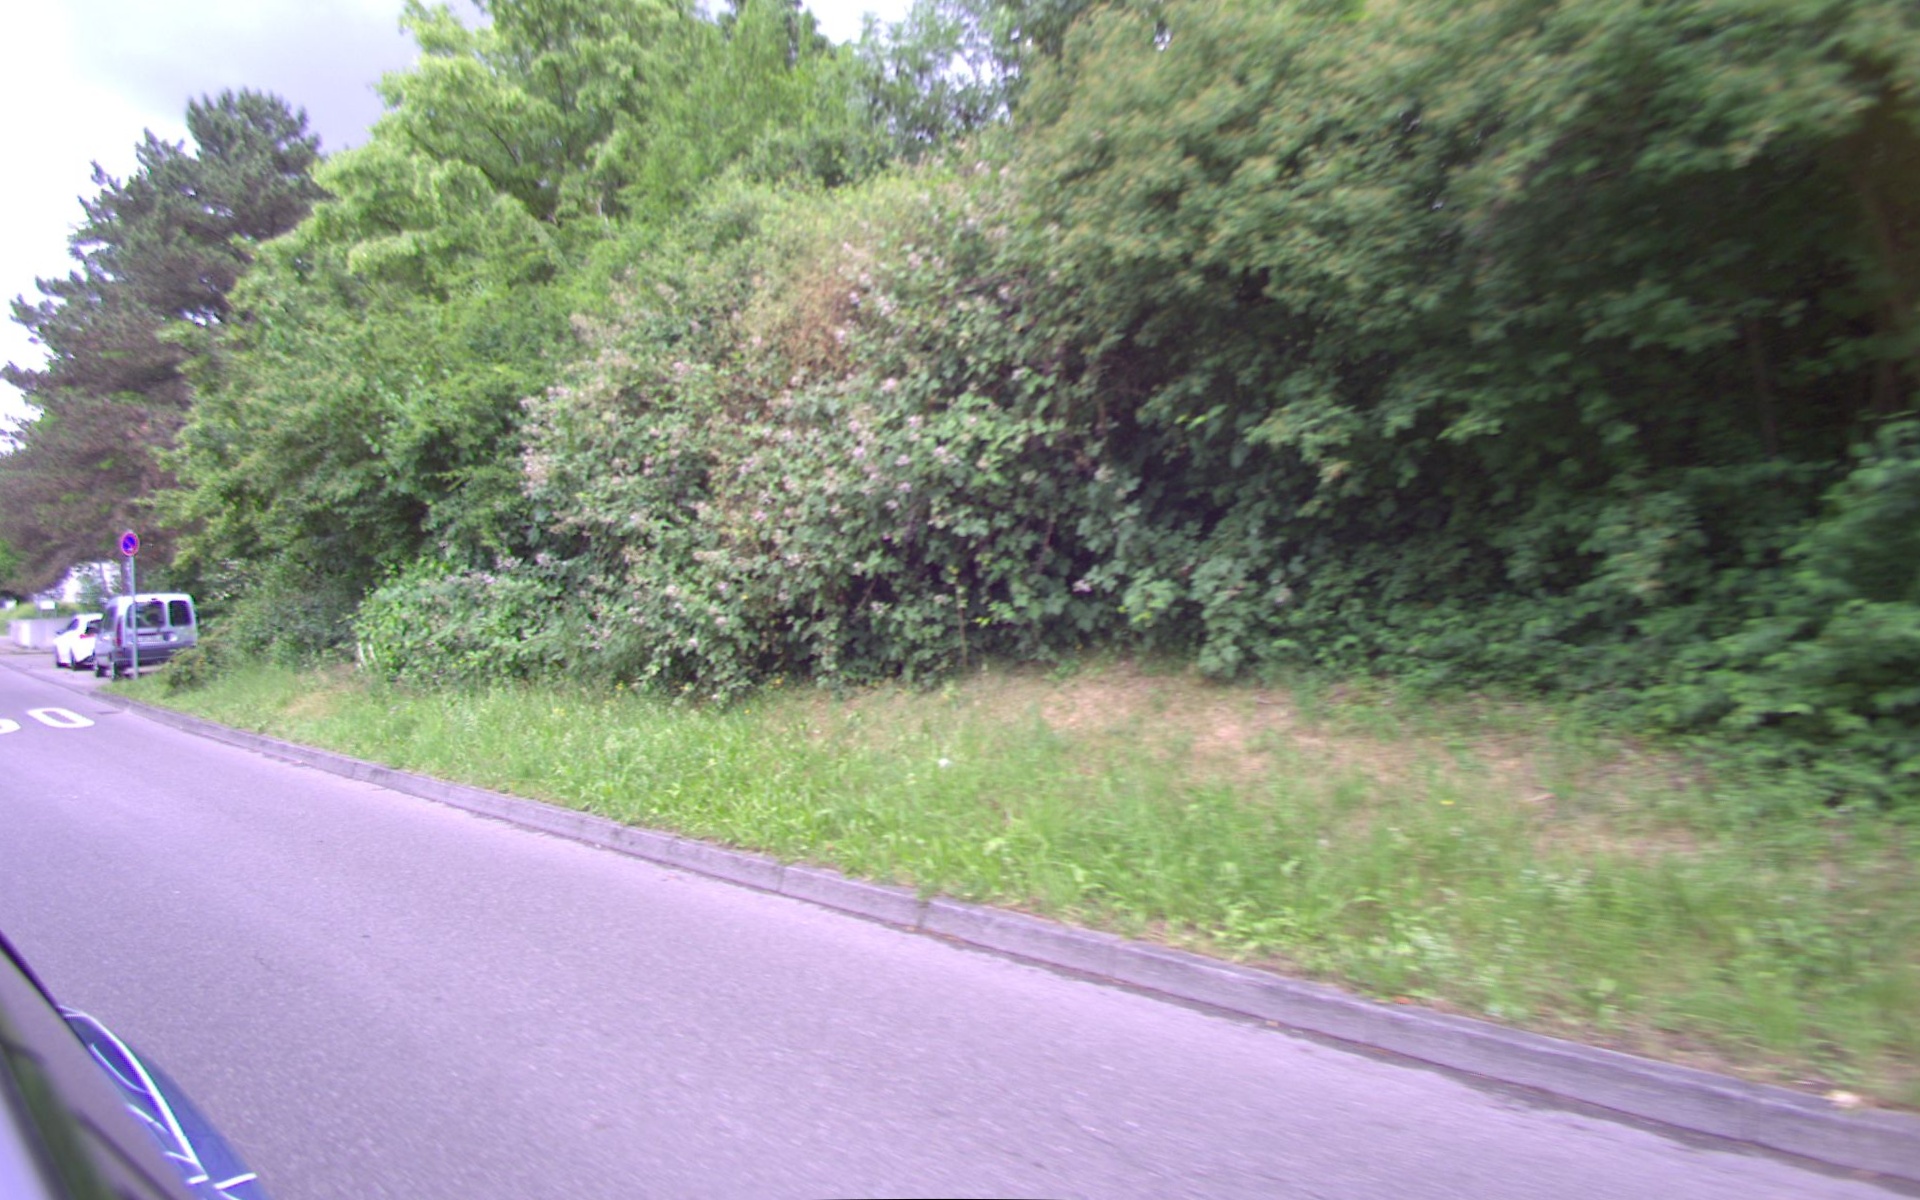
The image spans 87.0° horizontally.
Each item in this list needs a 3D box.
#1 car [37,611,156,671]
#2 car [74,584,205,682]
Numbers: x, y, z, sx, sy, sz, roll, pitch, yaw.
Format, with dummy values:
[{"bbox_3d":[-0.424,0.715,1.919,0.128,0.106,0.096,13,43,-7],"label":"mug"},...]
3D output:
[{"bbox_3d":[-23.305,1.070,27.261,4.370,1.413,1.787,-2,2,41],"label":"car"},{"bbox_3d":[-18.509,0.731,22.757,4.105,1.935,1.702,-2,1,44],"label":"car"}]
